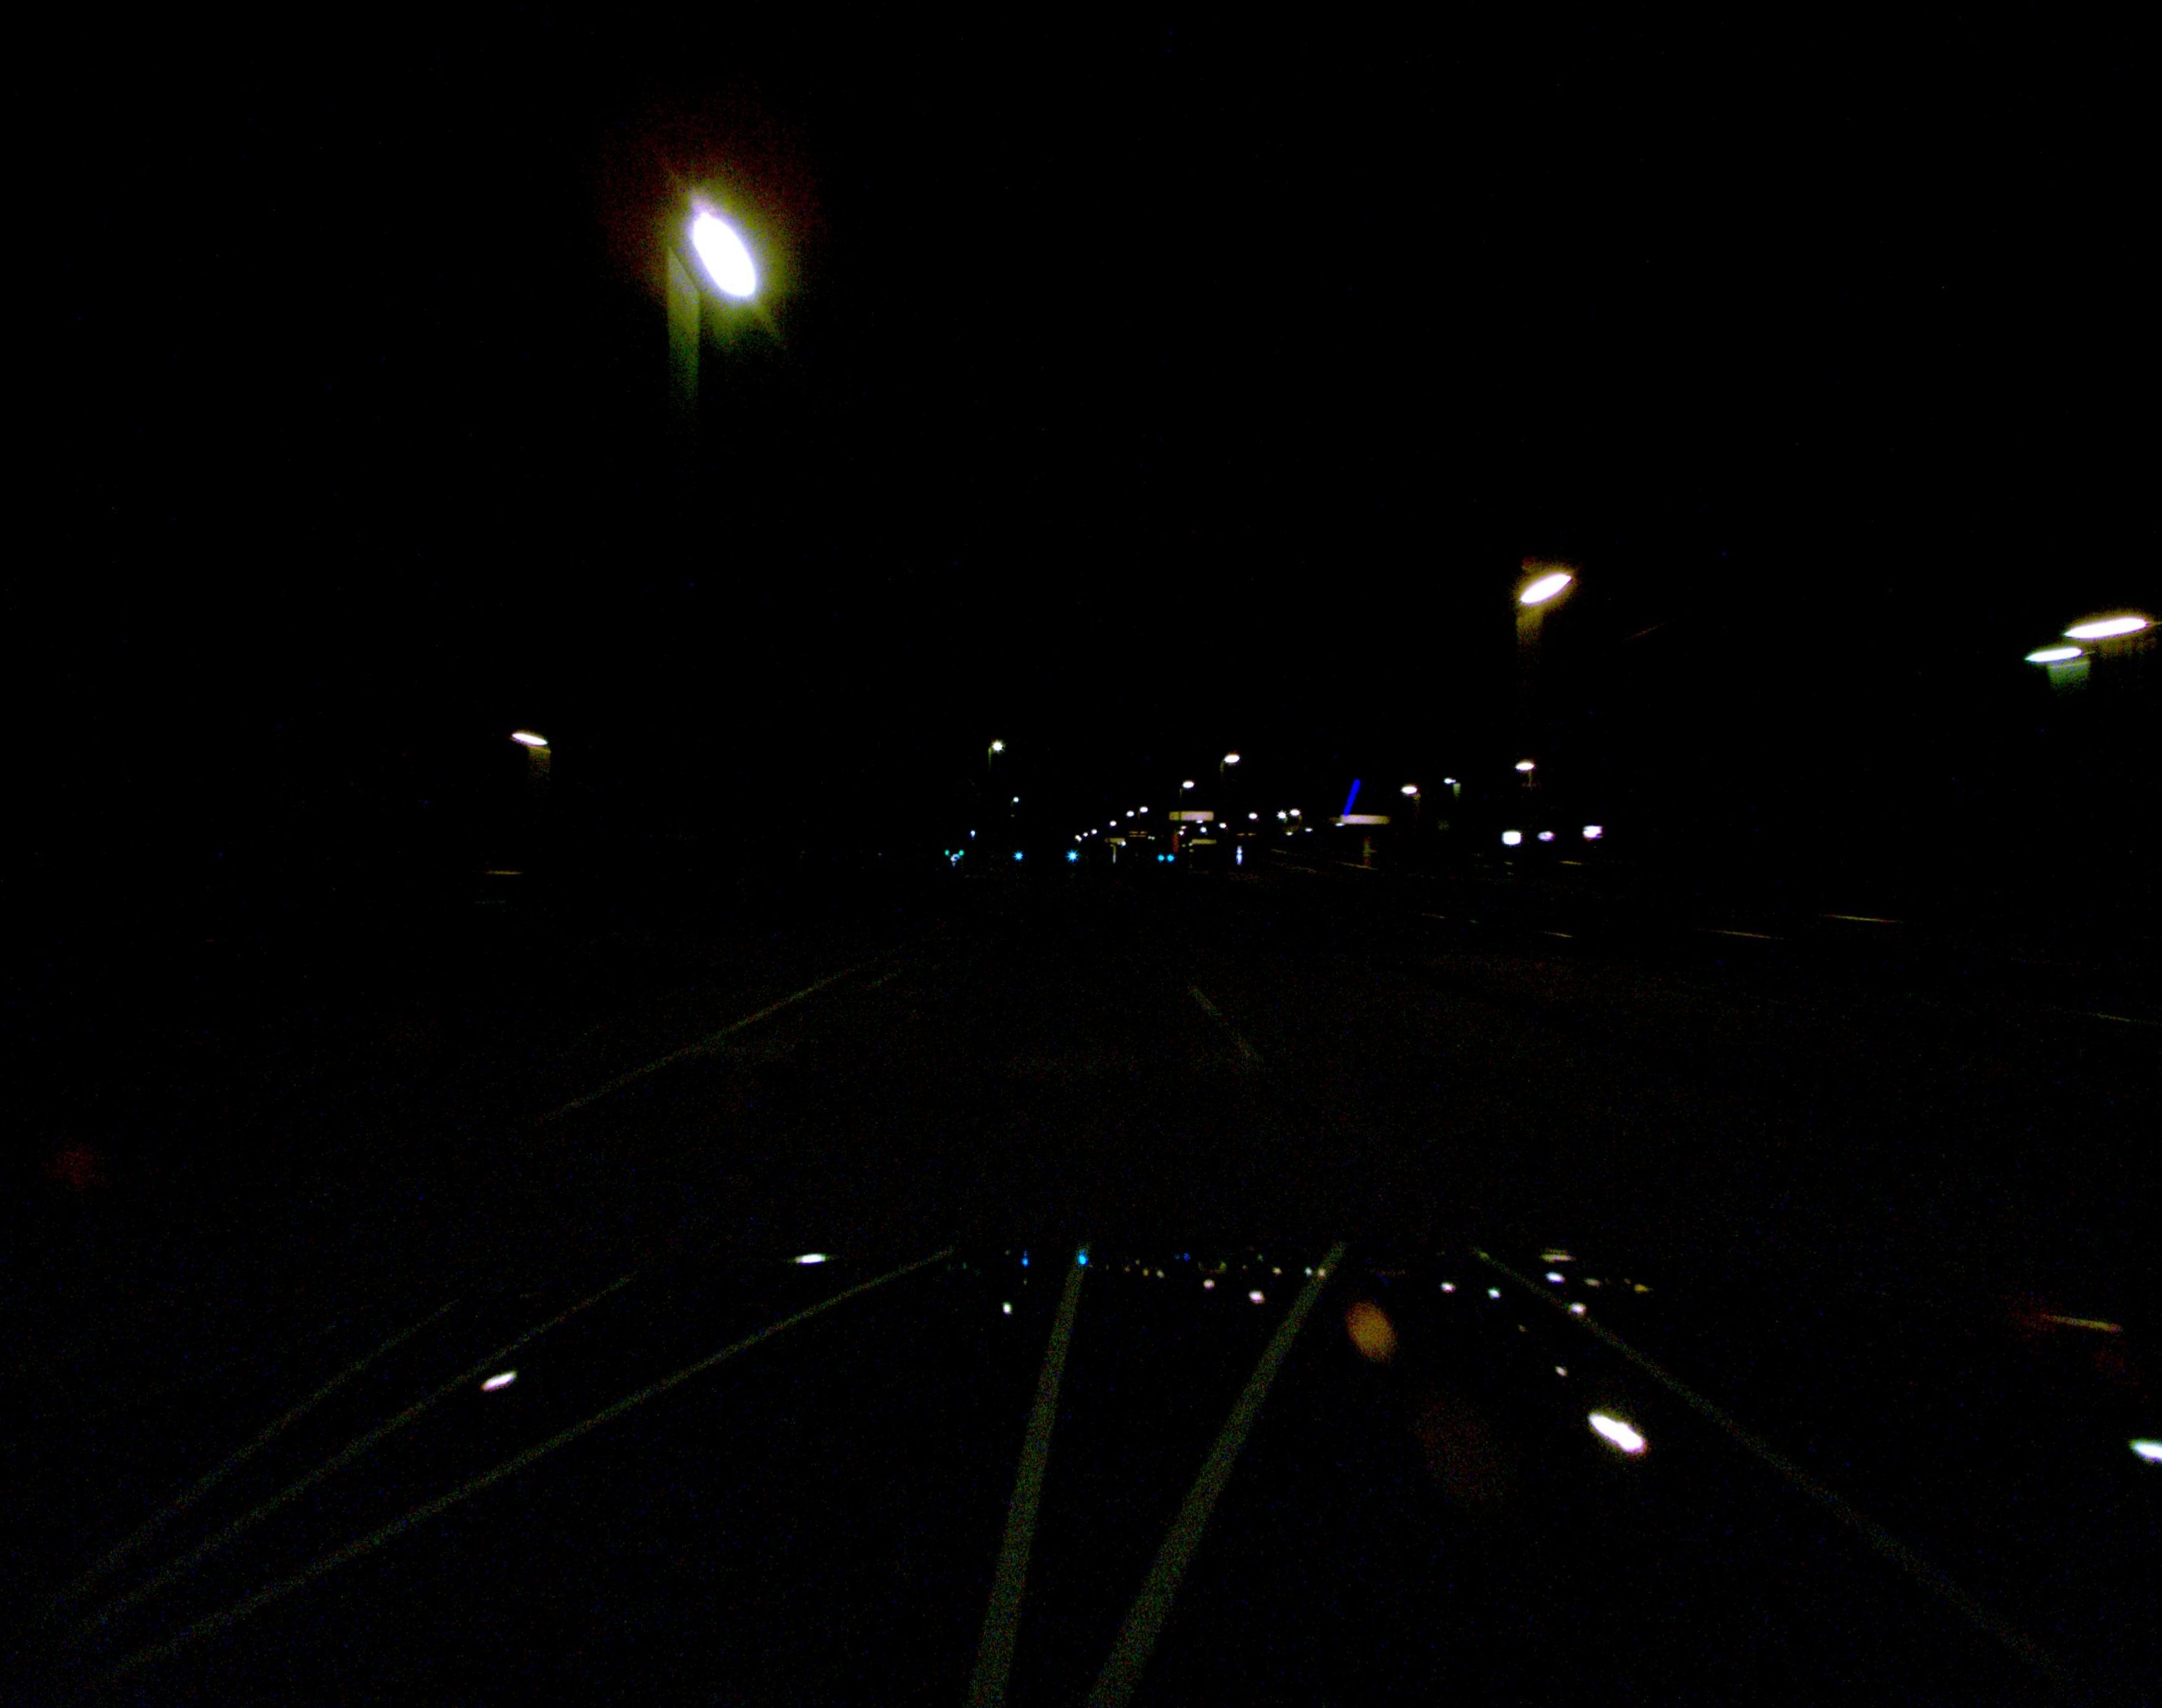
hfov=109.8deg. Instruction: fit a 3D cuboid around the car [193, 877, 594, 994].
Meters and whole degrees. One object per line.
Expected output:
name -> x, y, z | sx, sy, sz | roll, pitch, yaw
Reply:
car -> -9.169, 1.042, 10.413 | 3.774, 1.346, 1.859 | -1, 0, 0
